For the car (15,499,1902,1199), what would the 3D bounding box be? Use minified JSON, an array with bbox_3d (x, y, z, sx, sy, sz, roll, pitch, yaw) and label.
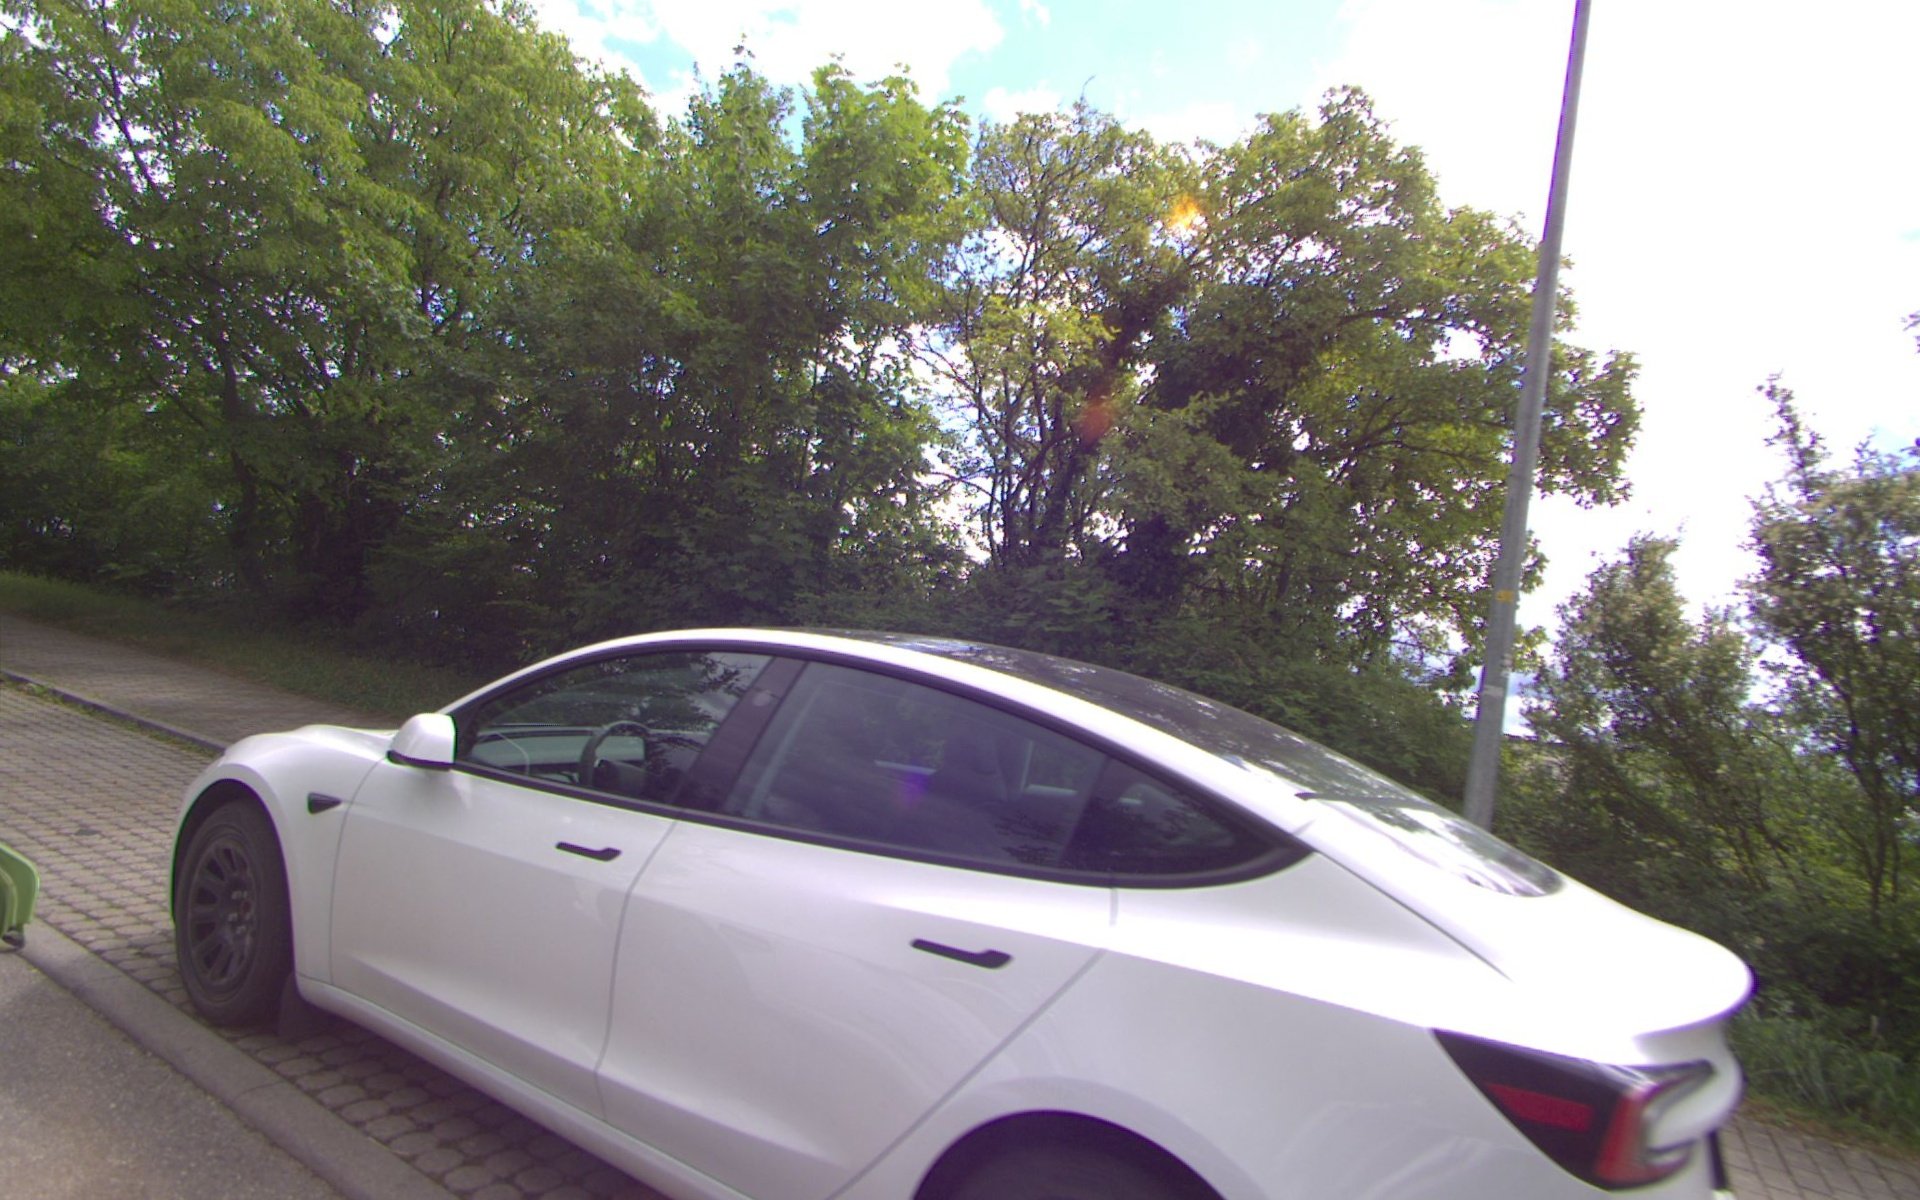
[{"bbox_3d":[-0.671,0.750,3.138,4.818,1.494,1.867,7,-2,30],"label":"car"}]
